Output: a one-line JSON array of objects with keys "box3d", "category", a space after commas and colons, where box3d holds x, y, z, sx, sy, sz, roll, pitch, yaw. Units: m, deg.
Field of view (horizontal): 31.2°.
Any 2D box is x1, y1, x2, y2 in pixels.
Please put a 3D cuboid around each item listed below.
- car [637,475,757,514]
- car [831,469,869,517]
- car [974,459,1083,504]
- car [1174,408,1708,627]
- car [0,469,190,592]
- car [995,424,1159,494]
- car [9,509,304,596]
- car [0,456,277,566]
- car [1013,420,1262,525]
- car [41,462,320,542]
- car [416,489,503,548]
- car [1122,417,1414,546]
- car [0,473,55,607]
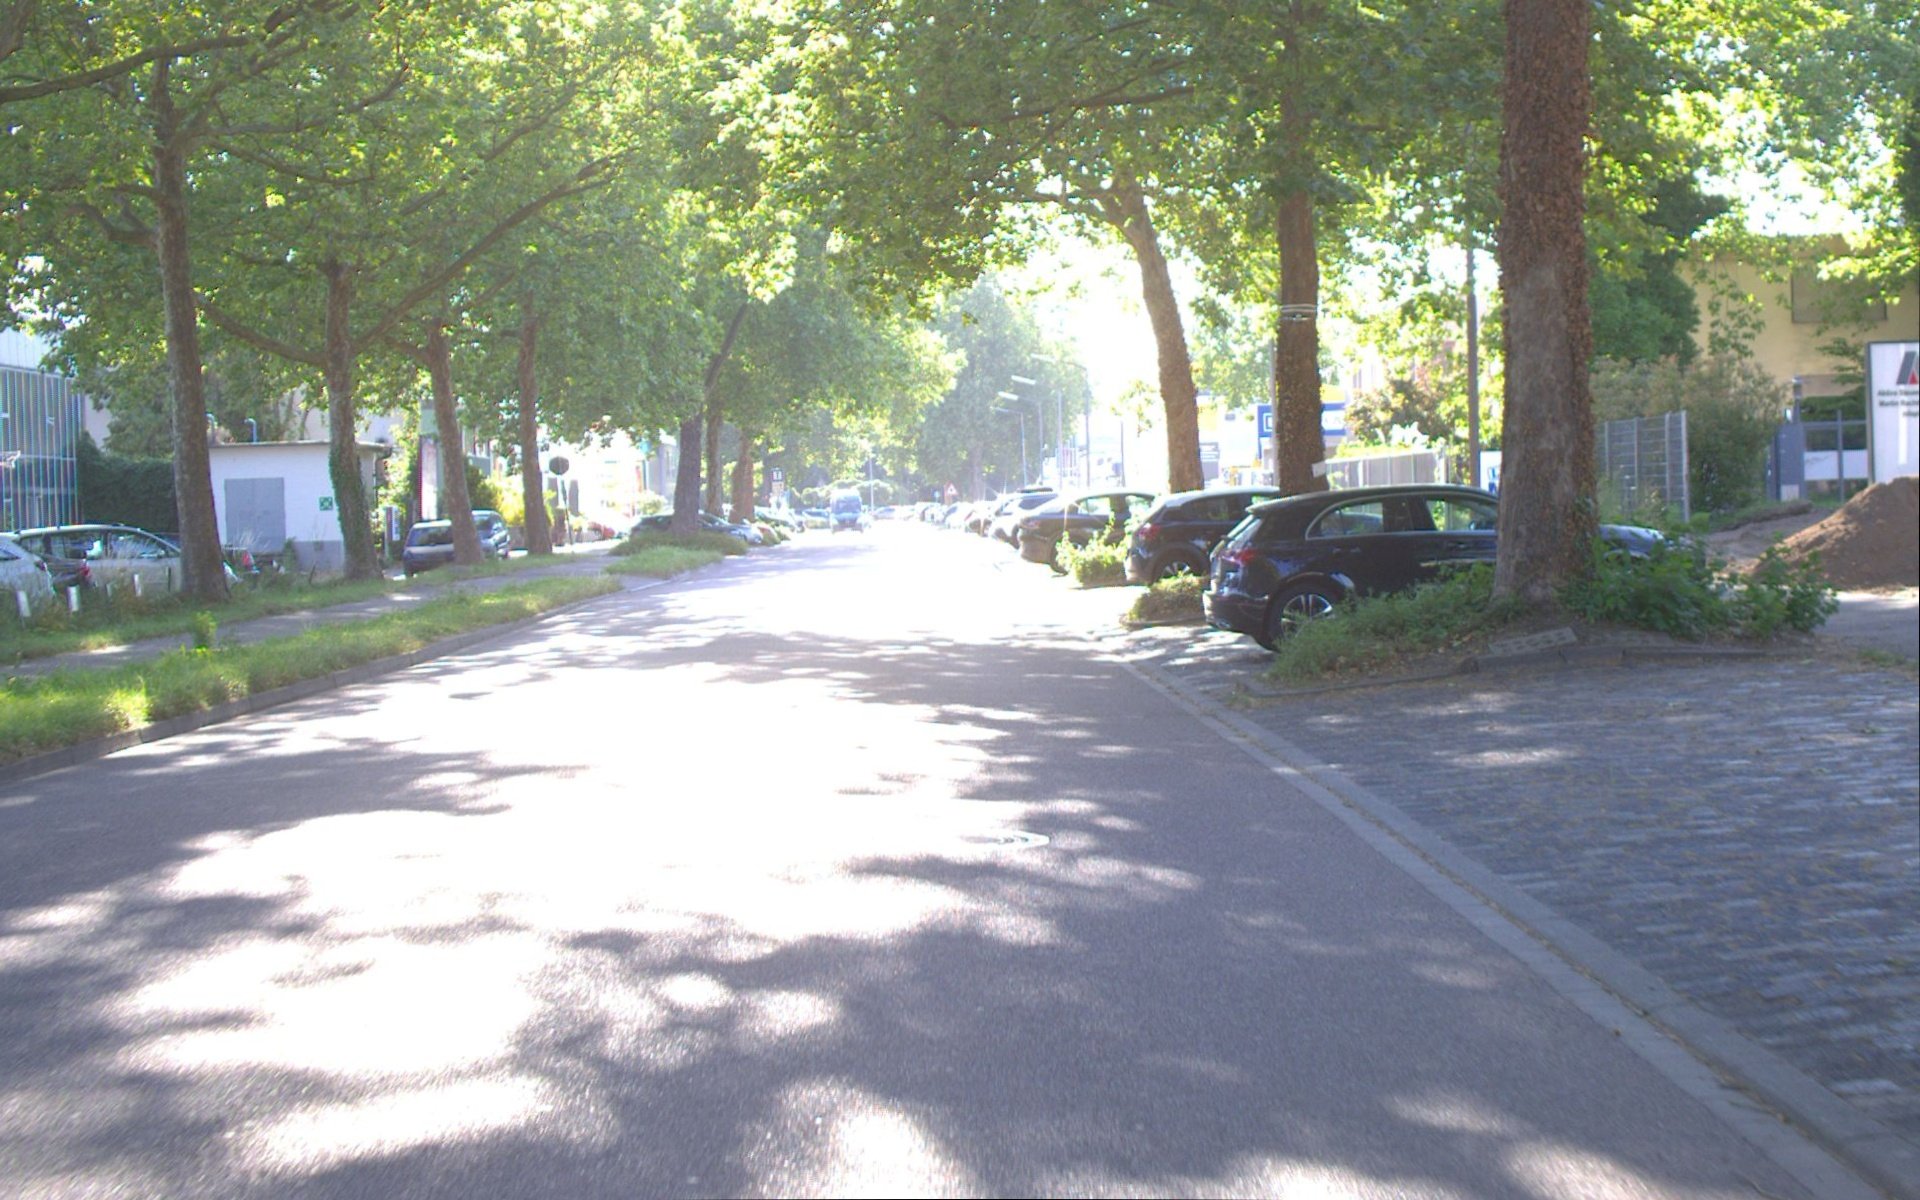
[{"box3d": [-10.377, -4.179, 135.735, 4.599, 1.417, 2.000, -1, 3, -1], "category": "car"}, {"box3d": [-6.548, -6.421, 205.170, 2.127, 2.650, 7.003, -2, 3, -1], "category": "car"}, {"box3d": [2.988, -5.133, 149.360, 4.601, 1.574, 2.000, -4, 2, 2], "category": "car"}, {"box3d": [4.177, -0.735, 30.292, 4.284, 1.481, 1.861, -5, 2, -2], "category": "car"}, {"box3d": [-12.866, -0.960, 46.837, 1.998, 1.623, 4.252, 1, 2, 42], "category": "car"}, {"box3d": [3.459, -4.201, 102.373, 4.624, 1.706, 2.000, -5, 2, -2], "category": "car"}, {"box3d": [-13.728, -0.840, 58.899, 4.472, 1.301, 1.999, -4, 4, -42], "category": "car"}, {"box3d": [-13.638, -1.458, 56.065, 4.471, 1.724, 2.000, -1, 2, -38], "category": "car"}, {"box3d": [3.470, -2.501, 67.736, 4.569, 1.709, 1.944, -4, 2, -4], "category": "car"}, {"box3d": [-14.017, -1.781, 61.947, 4.472, 1.301, 1.999, -4, 4, -42], "category": "car"}, {"box3d": [-13.523, -2.210, 92.995, 1.993, 1.365, 3.921, -6, 2, -5], "category": "car"}, {"box3d": [4.288, -1.658, 48.271, 3.784, 1.481, 1.861, -5, 2, -2], "category": "car"}, {"box3d": [-13.744, -0.741, 43.039, 1.999, 1.693, 4.252, 1, 2, 43], "category": "car"}]
